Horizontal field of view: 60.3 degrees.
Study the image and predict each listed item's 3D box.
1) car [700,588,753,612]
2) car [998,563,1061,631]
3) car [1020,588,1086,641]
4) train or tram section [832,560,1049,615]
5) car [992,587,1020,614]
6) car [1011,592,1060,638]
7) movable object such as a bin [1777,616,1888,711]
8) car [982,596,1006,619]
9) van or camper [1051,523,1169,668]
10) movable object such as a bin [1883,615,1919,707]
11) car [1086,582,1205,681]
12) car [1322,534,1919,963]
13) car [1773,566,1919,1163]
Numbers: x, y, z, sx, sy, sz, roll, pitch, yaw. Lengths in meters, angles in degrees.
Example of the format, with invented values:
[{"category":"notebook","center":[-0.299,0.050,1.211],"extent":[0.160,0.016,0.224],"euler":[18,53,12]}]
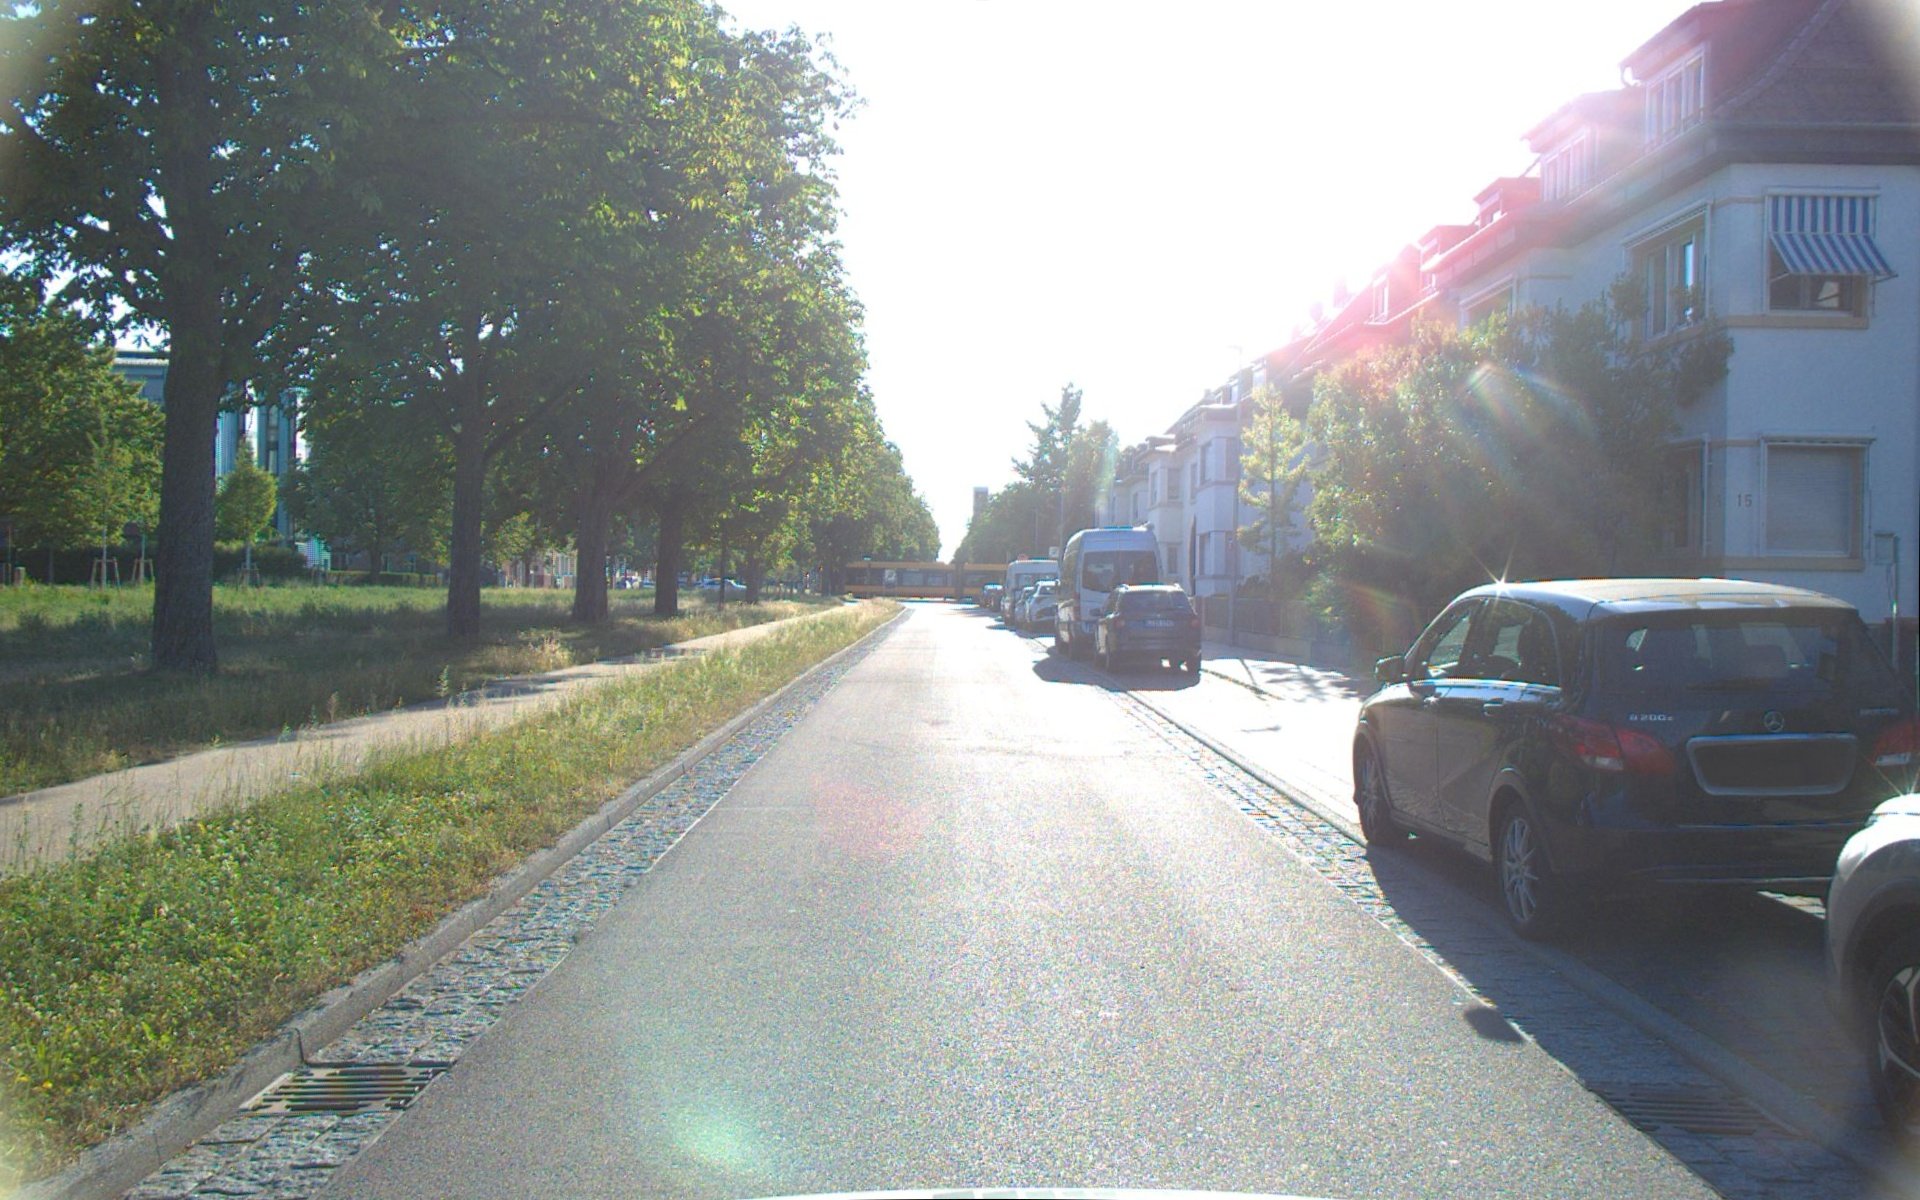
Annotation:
[{"category":"car","center":[-19.623,-0.009,138.988],"extent":[4.266,1.795,1.996],"euler":[3,0,-9]},{"category":"car","center":[2.748,-0.131,66.345],"extent":[2.084,2.577,5.186],"euler":[0,0,-2]},{"category":"car","center":[3.041,0.448,54.761],"extent":[1.800,1.664,4.130],"euler":[0,0,-2]},{"category":"train or tram section","center":[-1.848,-1.120,150.039],"extent":[19.398,4.025,3.640],"euler":[3,0,-5]},{"category":"car","center":[2.699,0.012,98.293],"extent":[1.616,1.557,3.851],"euler":[0,0,1]},{"category":"car","center":[2.699,0.514,59.522],"extent":[1.616,1.557,3.851],"euler":[0,0,1]},{"category":"movable object such as a bin","center":[10.940,0.781,20.763],"extent":[0.964,1.119,0.790],"euler":[2,-1,3]},{"category":"car","center":[2.353,0.539,115.157],"extent":[1.616,1.557,3.851],"euler":[0,0,1]},{"category":"van or camper","center":[3.167,-0.072,36.130],"extent":[1.904,2.826,5.939],"euler":[2,-1,0]},{"category":"movable object such as a bin","center":[12.248,0.767,20.577],"extent":[1.062,1.119,0.790],"euler":[3,-1,3]},{"category":"car","center":[3.266,0.525,29.749],"extent":[1.630,1.621,4.085],"euler":[-1,0,0]},{"category":"car","center":[3.367,0.569,8.950],"extent":[1.795,1.714,4.415],"euler":[-1,1,0]},{"category":"car","center":[3.502,0.699,3.073],"extent":[1.684,1.601,4.207],"euler":[-1,0,-4]}]
